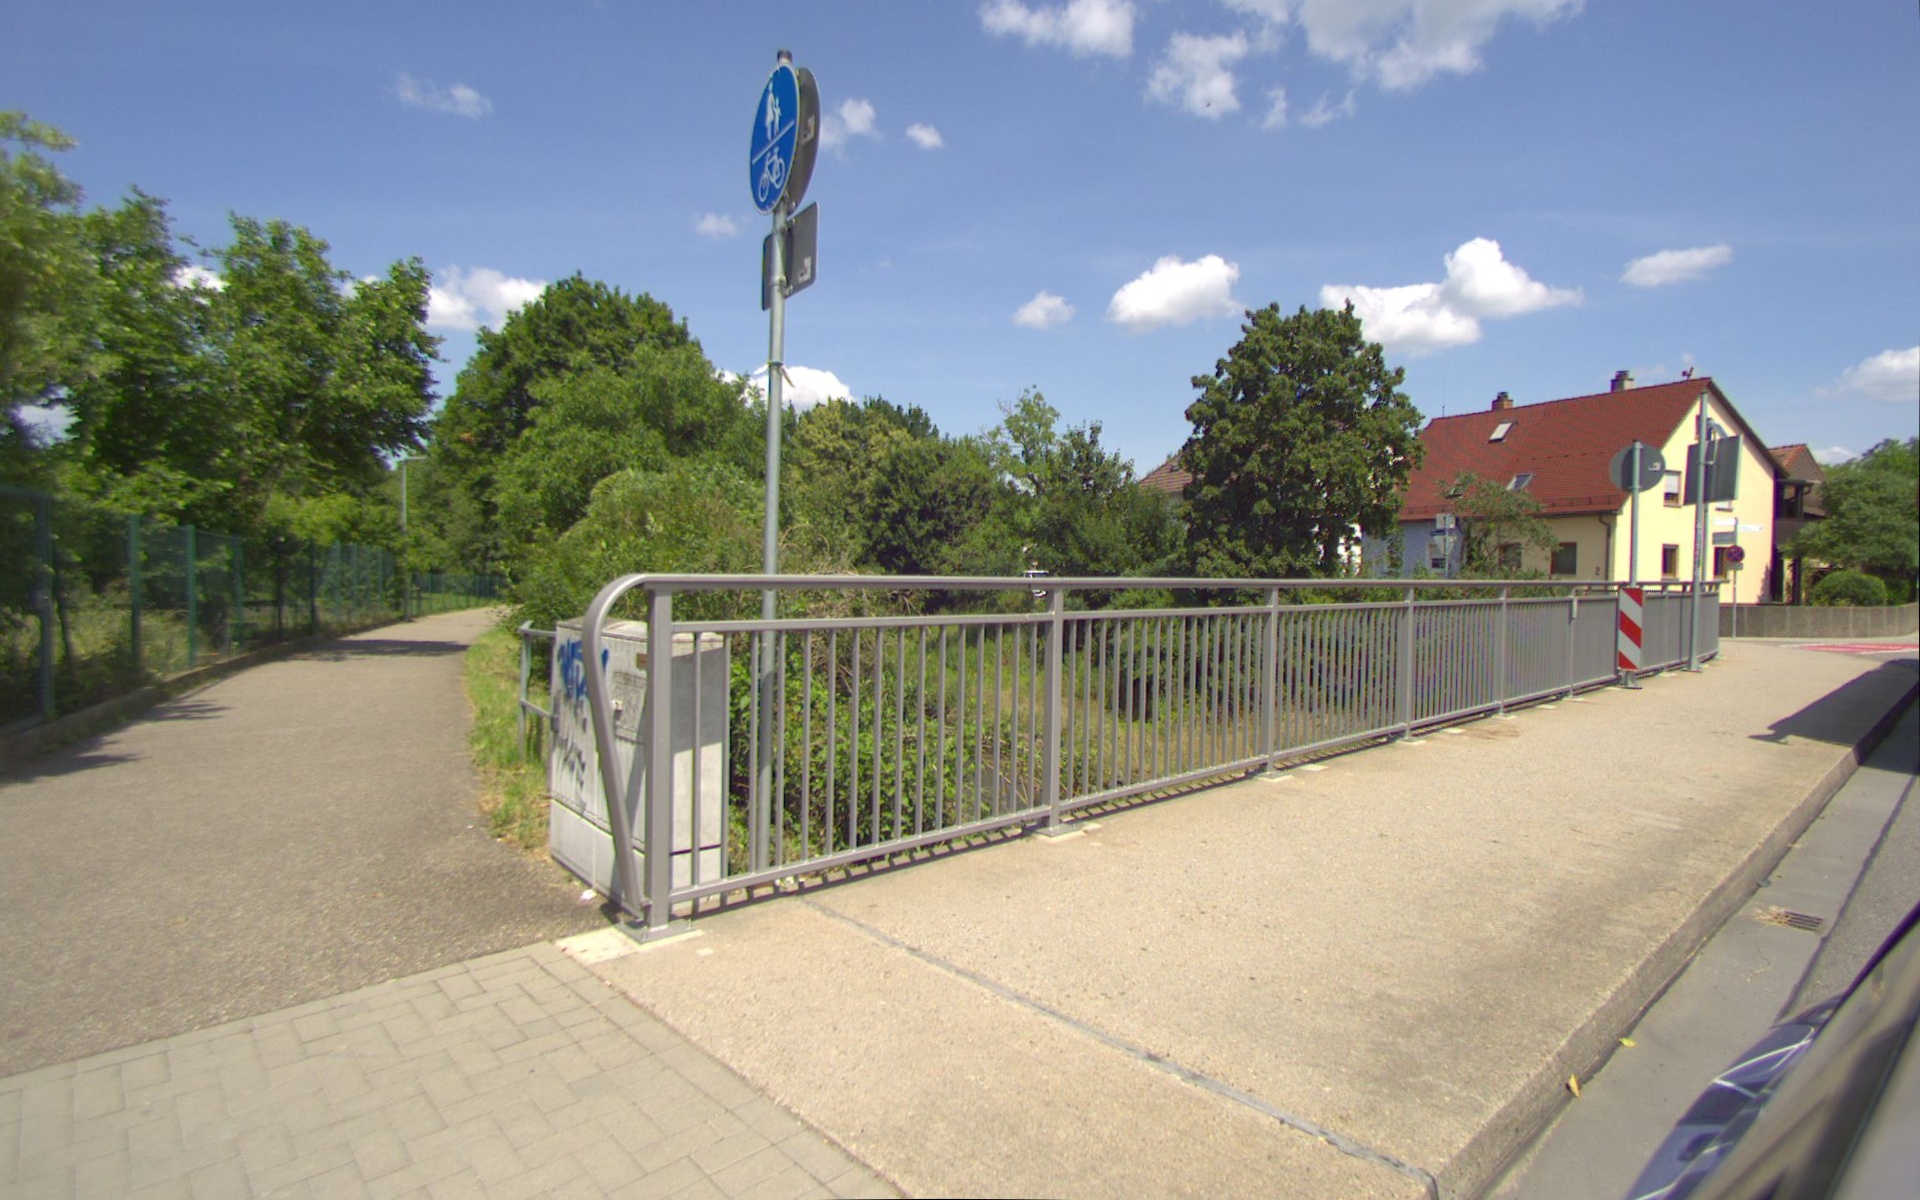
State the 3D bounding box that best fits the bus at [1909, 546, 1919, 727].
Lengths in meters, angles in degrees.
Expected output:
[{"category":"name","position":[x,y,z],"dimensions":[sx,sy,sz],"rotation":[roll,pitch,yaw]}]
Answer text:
[{"category":"bus","position":[11.803,-0.352,9.715],"dimensions":[9.114,3.004,2.755],"rotation":[2,2,-40]}]
